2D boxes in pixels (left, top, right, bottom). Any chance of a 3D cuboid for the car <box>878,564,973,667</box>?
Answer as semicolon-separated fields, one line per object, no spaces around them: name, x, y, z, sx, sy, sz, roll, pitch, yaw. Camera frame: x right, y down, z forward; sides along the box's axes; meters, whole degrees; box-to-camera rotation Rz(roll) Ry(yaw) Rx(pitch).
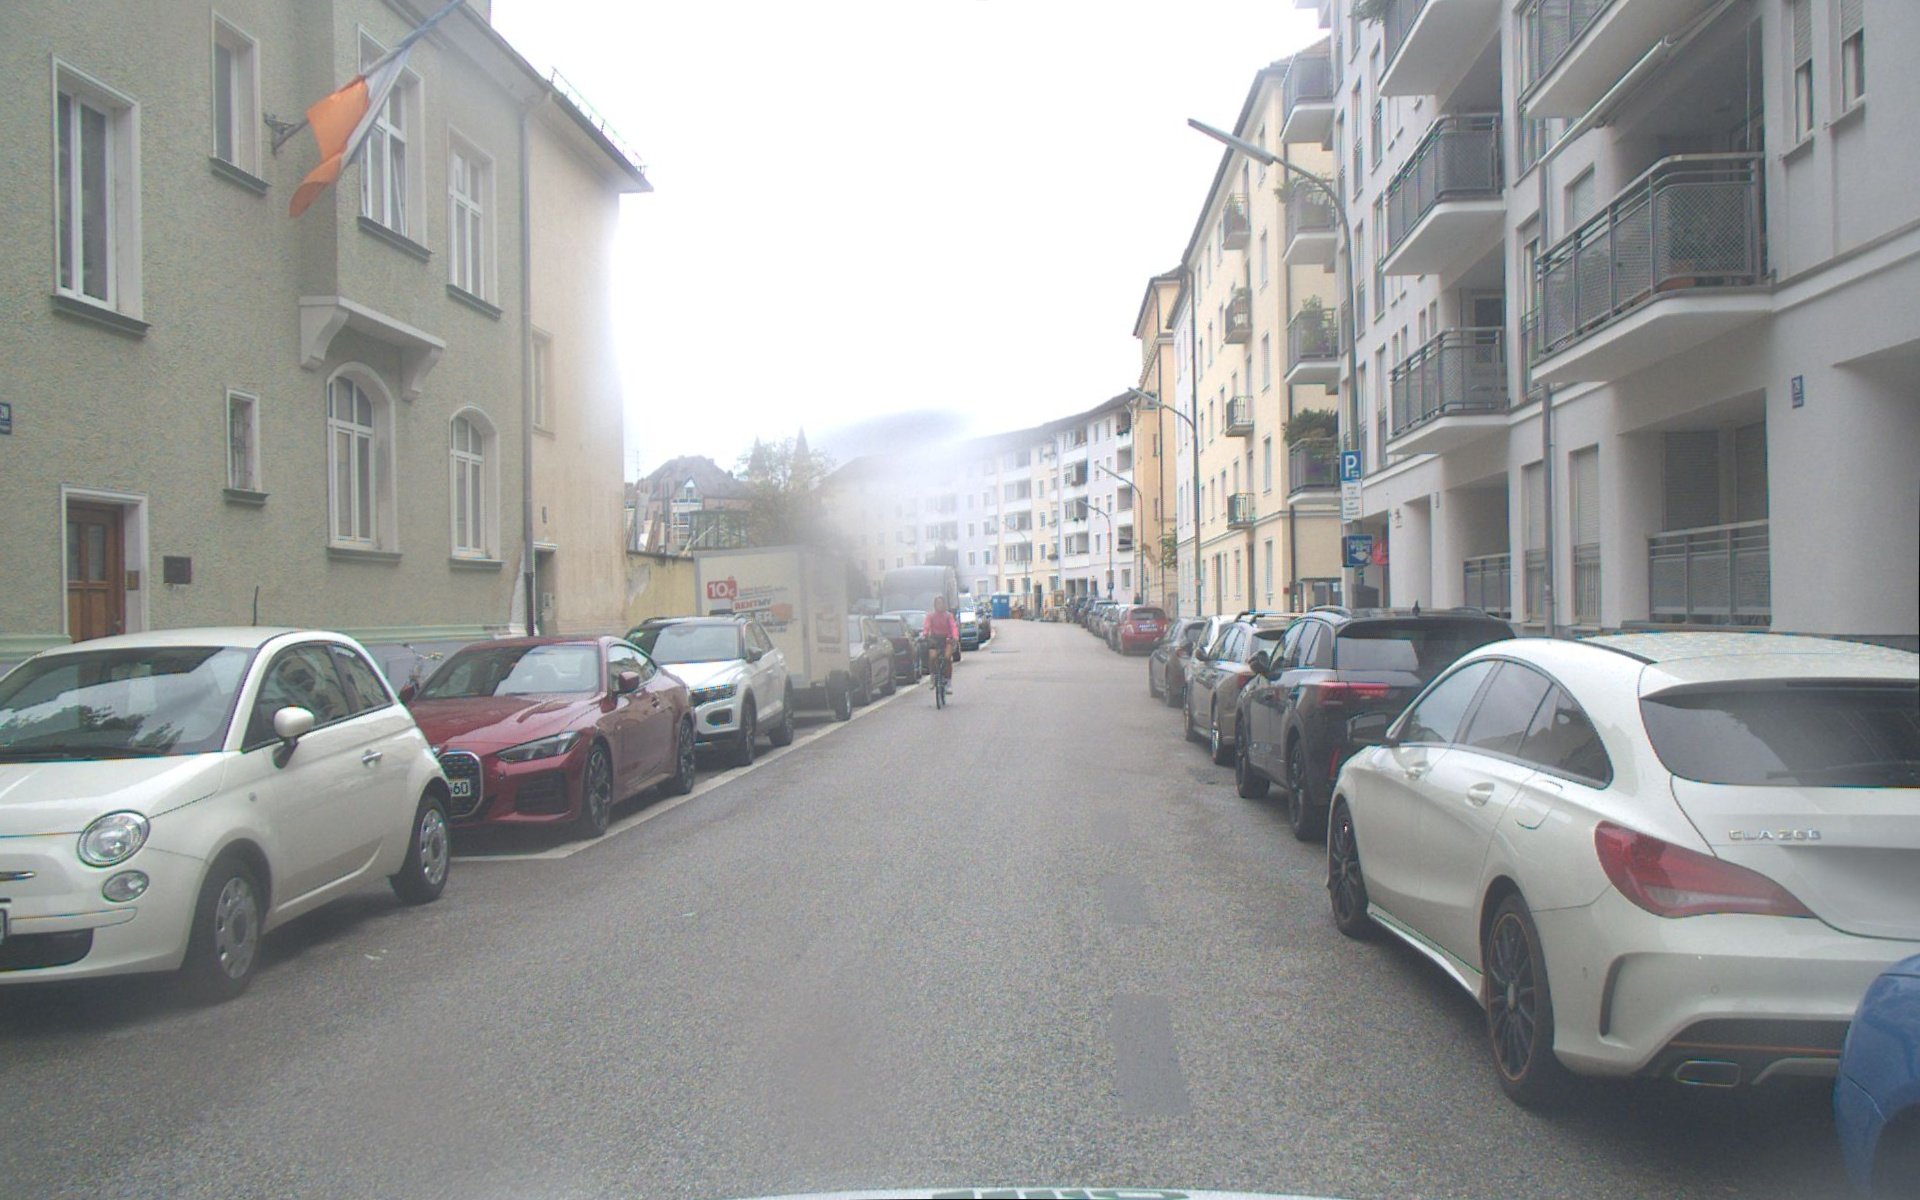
car;-0.898;0.378;46.193;2.044;2.682;5.380;-1;0;5

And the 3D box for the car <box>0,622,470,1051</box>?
car;-3.565;0.897;7.652;1.443;1.492;3.314;-2;0;2

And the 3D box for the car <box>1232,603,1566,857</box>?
car;3.098;0.827;12.444;1.570;1.557;3.985;1;0;2

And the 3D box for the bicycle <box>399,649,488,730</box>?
bicycle;-6.695;1.142;21.507;0.512;0.922;1.929;2;0;0

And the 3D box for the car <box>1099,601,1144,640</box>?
car;6.575;0.825;67.656;1.566;1.517;3.800;-1;0;2

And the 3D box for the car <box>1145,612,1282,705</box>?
car;4.192;0.935;27.879;1.727;1.432;4.079;-1;-1;1

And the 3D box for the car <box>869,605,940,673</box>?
car;-1.336;0.962;40.797;1.553;1.565;3.543;-2;-2;1

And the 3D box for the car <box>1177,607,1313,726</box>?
car;3.998;0.883;23.644;1.487;1.557;3.527;1;0;3

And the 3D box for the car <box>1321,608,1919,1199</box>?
car;2.551;0.789;6.159;1.623;1.465;4.208;1;0;2

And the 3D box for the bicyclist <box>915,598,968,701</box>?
bicyclist;-0.293;0.776;26.345;0.679;1.589;0.967;-2;0;6

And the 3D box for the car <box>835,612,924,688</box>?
car;-1.694;1.037;35.835;1.665;1.471;3.825;0;1;1

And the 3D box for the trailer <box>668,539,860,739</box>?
trailer;-2.664;0.498;23.527;1.673;2.504;4.389;-3;0;6

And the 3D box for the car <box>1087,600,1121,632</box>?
car;7.564;0.805;87.111;1.557;1.610;4.300;0;0;2

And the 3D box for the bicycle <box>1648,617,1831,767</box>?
bicycle;6.738;0.751;14.421;0.614;1.180;2.128;-1;0;1

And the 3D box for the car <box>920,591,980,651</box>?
car;-0.311;0.701;58.815;1.843;1.965;4.602;-3;0;2

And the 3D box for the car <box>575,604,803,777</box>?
car;-2.876;0.903;18.354;1.652;1.631;3.923;-3;0;3

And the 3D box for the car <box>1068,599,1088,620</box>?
car;7.757;0.624;108.854;1.245;1.321;2.798;0;0;2

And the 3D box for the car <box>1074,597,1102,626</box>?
car;7.490;0.665;97.163;1.443;1.669;4.002;0;0;2

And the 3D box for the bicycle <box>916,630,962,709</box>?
bicycle;-0.323;1.084;26.254;0.493;1.148;1.774;-2;0;6

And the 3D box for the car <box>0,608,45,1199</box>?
car;-2.023;0.727;0.264;1.548;1.436;3.614;-1;-1;4

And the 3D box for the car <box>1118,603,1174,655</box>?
car;5.795;0.883;51.795;1.562;1.535;3.802;-1;0;4

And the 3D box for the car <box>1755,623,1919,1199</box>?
car;2.529;0.772;1.915;1.585;1.437;3.554;1;-1;2

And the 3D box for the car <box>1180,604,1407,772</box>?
car;3.495;0.846;18.147;1.698;1.557;4.623;1;0;2

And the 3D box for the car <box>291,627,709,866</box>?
car;-3.295;0.978;12.809;1.822;1.437;4.334;-3;-1;2

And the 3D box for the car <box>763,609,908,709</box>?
car;-2.138;0.988;29.639;1.729;1.565;4.544;-3;-1;6

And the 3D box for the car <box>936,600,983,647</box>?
car;0.011;0.914;66.600;1.666;1.720;4.029;-3;0;2
